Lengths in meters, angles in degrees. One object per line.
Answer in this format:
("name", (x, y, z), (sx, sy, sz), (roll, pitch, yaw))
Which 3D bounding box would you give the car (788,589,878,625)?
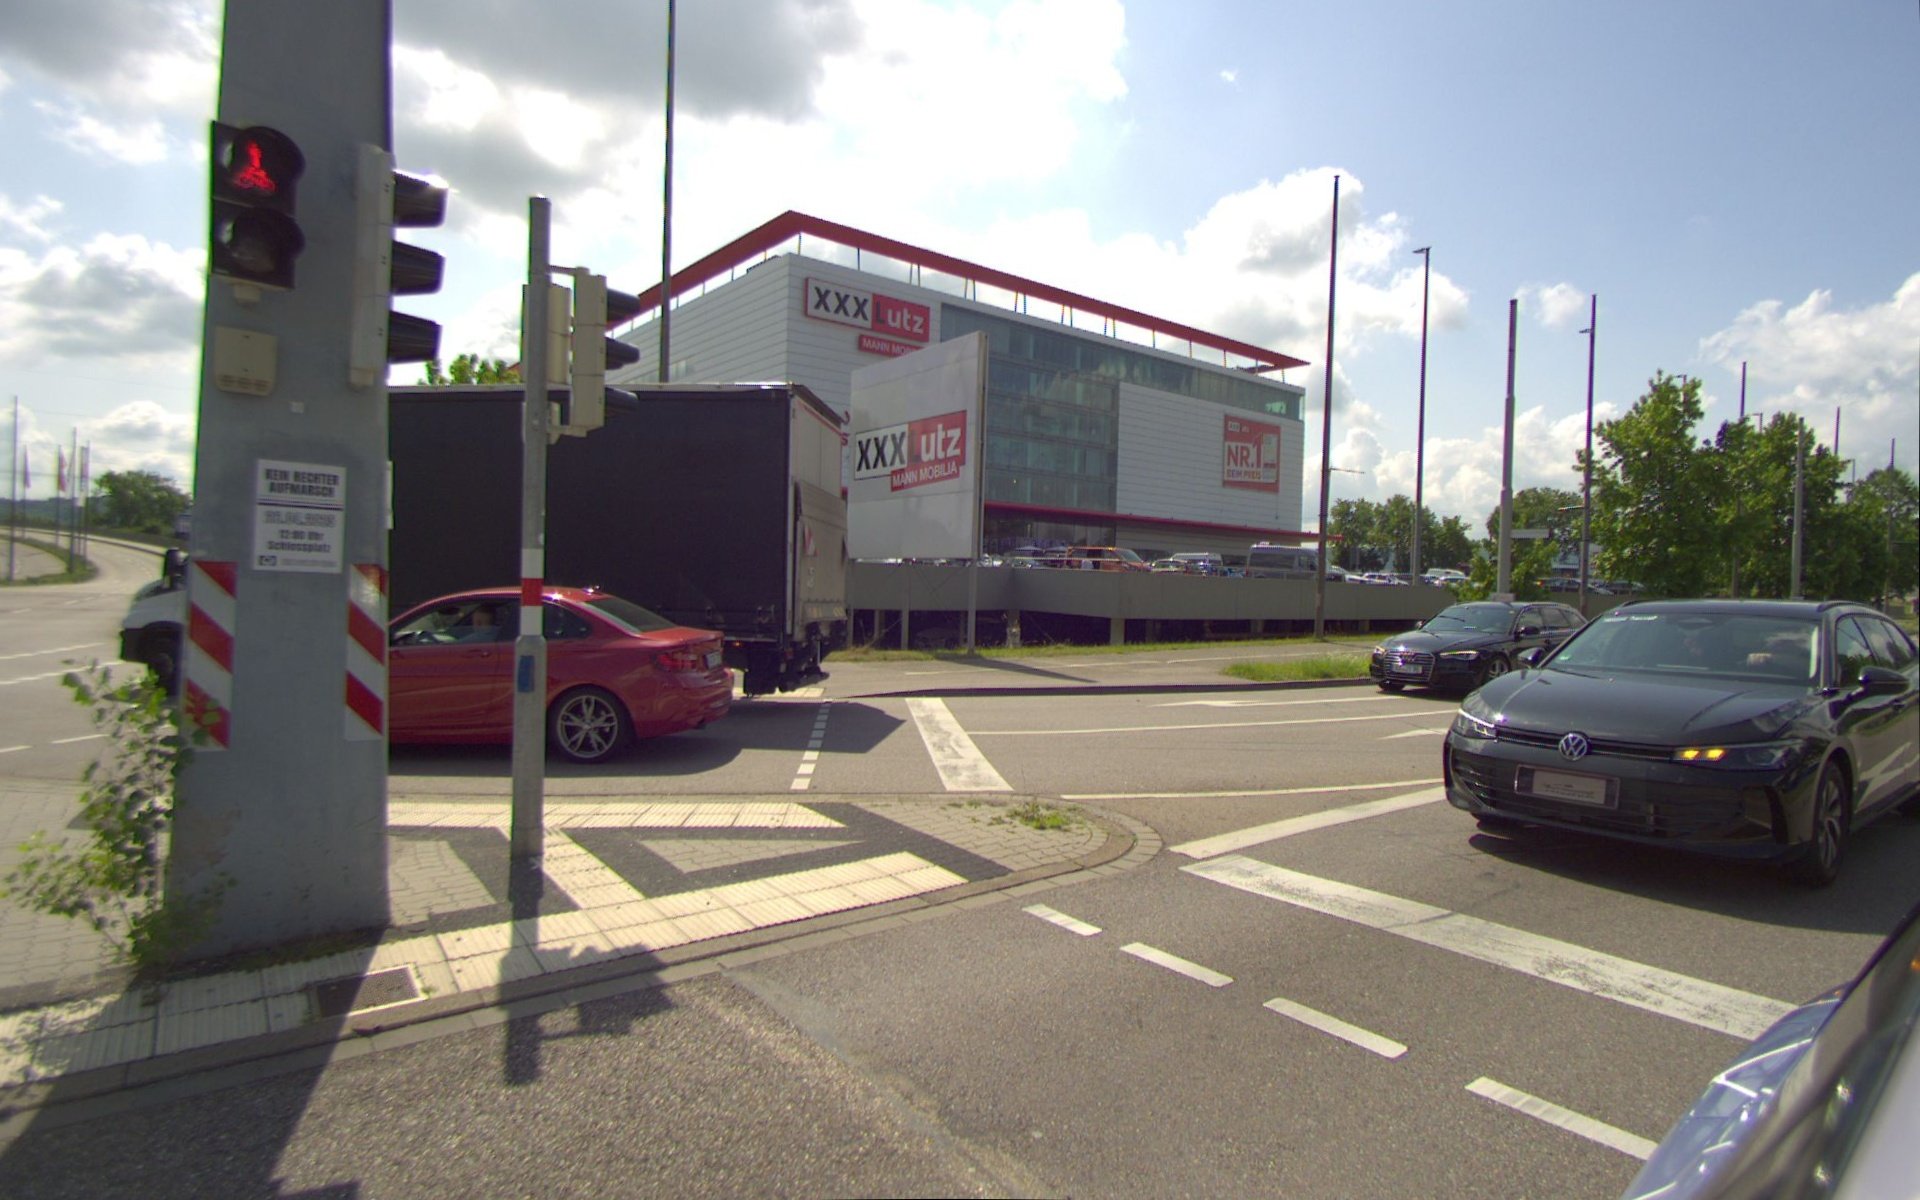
("car", (-6.545, 0.320, 52.324), (4.287, 1.772, 1.997), (-1, 1, -41))

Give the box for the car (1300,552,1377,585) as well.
("car", (22.193, -1.844, 59.455), (1.717, 1.816, 3.999), (-1, 1, -36))

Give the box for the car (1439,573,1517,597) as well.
("car", (35.394, -1.040, 69.253), (1.919, 1.625, 4.421), (-1, 1, -37))

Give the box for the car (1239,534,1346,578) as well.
("car", (18.910, -2.444, 57.908), (1.719, 2.312, 5.791), (-1, 1, -40))

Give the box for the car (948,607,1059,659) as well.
("car", (1.673, 1.192, 38.409), (3.930, 1.772, 1.997), (-1, 1, -41))

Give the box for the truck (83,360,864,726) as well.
("truck", (-5.977, -0.604, 13.344), (8.912, 4.078, 3.218), (-1, 1, 6))

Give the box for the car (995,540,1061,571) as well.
("car", (4.177, -2.685, 62.398), (1.882, 1.772, 3.997), (-1, 1, -38))

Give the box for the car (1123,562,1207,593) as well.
("car", (11.438, -1.253, 56.701), (1.919, 1.625, 4.421), (-1, 1, -37))

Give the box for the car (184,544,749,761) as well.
("car", (-4.155, 0.401, 9.057), (4.138, 1.676, 1.865), (-1, 1, 0))

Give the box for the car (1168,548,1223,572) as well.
("car", (18.723, -3.166, 80.523), (1.882, 1.772, 3.997), (-1, 1, -38))

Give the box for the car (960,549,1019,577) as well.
("car", (1.955, -2.506, 68.775), (1.882, 1.772, 3.997), (-1, 1, -38))

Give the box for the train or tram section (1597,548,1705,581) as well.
("train or tram section", (105.261, -5.279, 154.530), (3.665, 4.731, 13.093), (-1, 1, -39))

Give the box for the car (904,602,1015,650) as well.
("car", (0.019, 1.002, 41.220), (4.287, 1.772, 1.997), (-1, 1, -41))

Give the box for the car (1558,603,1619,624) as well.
("car", (56.388, 1.149, 90.876), (1.532, 1.786, 4.417), (-1, 1, -40))

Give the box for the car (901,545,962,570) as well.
("car", (-1.887, -2.719, 65.270), (1.532, 1.489, 4.418), (-1, 1, -40))

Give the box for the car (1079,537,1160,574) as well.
("car", (8.302, -2.297, 52.959), (1.879, 1.772, 4.191), (-1, 1, -32))

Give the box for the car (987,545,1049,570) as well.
("car", (3.969, -2.890, 69.691), (1.918, 1.625, 4.422), (-1, 1, -36))

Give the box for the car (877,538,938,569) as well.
("car", (-3.347, -2.912, 63.748), (1.882, 1.772, 3.997), (-1, 1, -38))

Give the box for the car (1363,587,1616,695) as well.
("car", (8.603, 0.549, 16.288), (4.591, 1.496, 1.779), (-1, 1, -36))

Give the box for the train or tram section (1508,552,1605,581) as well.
("train or tram section", (97.012, -5.576, 164.788), (3.665, 4.424, 13.098), (-1, 3, -39))

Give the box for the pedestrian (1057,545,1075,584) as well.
("pedestrian", (5.599, -1.866, 53.430), (0.896, 2.039, 0.705), (-1, 0, 8))

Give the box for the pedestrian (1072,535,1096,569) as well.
("pedestrian", (6.513, -2.501, 53.048), (1.015, 1.764, 0.697), (0, 0, 40))

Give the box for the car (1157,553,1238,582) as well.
("car", (13.627, -1.831, 58.309), (1.918, 1.625, 4.422), (-1, 1, -36))

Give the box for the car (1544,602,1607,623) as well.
("car", (53.595, 1.056, 88.220), (1.532, 1.786, 4.417), (-1, 1, -40))

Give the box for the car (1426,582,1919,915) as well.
("car", (5.328, 0.626, 6.828), (5.108, 1.496, 1.813), (-1, 1, -38))
